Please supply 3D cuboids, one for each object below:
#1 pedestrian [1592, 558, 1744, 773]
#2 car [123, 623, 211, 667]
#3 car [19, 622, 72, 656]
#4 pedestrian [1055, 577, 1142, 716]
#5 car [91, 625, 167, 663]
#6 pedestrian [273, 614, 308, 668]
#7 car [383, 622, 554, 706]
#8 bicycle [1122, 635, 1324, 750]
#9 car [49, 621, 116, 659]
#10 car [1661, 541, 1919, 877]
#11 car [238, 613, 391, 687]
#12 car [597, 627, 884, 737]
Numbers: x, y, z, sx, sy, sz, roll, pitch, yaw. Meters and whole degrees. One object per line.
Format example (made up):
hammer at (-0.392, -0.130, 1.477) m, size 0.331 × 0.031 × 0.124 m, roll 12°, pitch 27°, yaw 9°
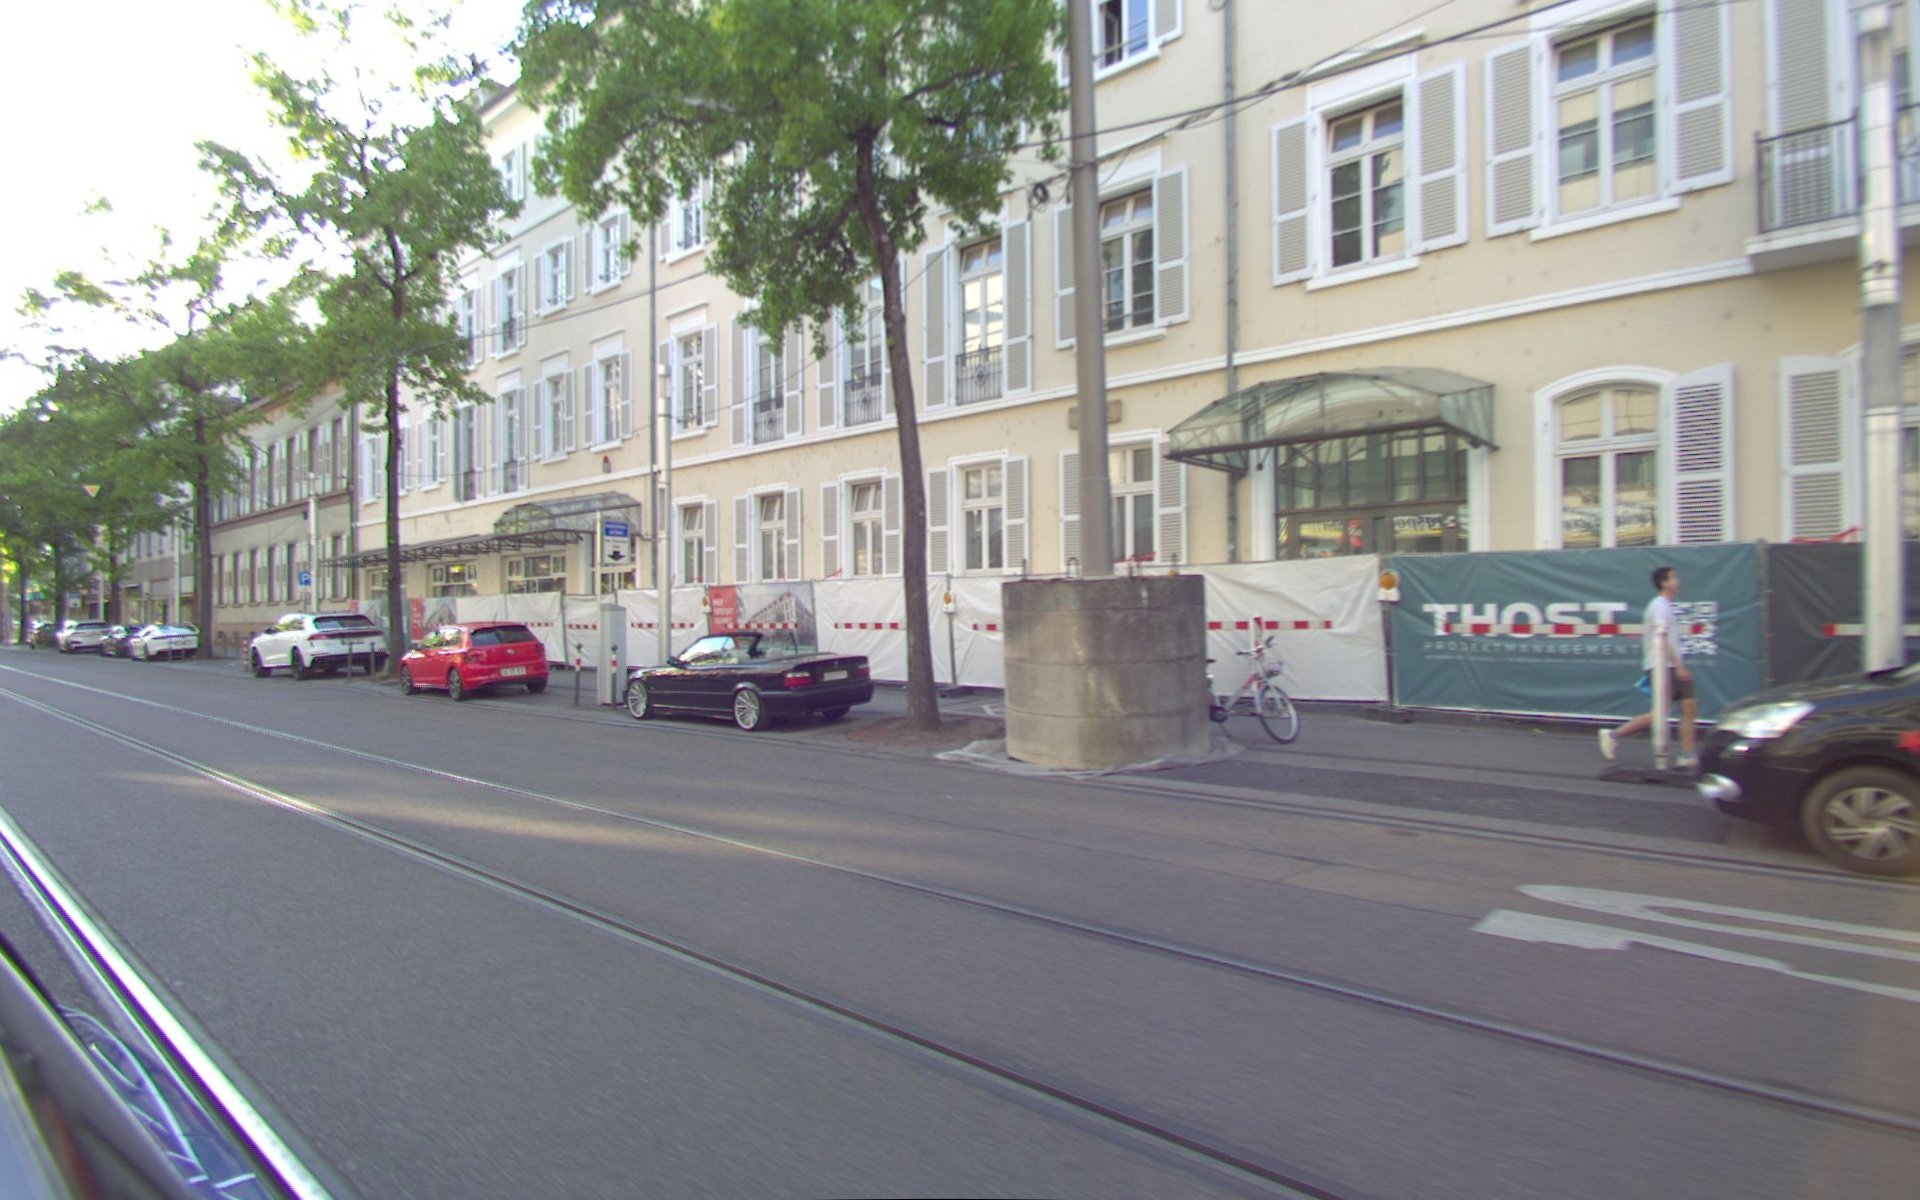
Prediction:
pedestrian at (6.384, 0.553, 9.133) m, size 0.984 × 1.805 × 0.766 m, roll -2°, pitch 1°, yaw 43°
car at (-30.728, 1.724, 39.156) m, size 4.615 × 1.477 × 1.872 m, roll -2°, pitch 1°, yaw 42°
car at (-56.199, 2.382, 62.162) m, size 4.763 × 1.972 × 1.906 m, roll -2°, pitch -2°, yaw 41°
pedestrian at (1.902, 0.617, 13.924) m, size 0.876 × 1.826 × 0.712 m, roll -2°, pitch 1°, yaw 41°
car at (-36.527, 1.934, 44.460) m, size 4.338 × 1.477 × 1.724 m, roll -2°, pitch 1°, yaw 39°
pedestrian at (-22.702, 1.370, 34.318) m, size 0.933 × 1.755 × 0.736 m, roll -2°, pitch 1°, yaw 42°
car at (-9.988, 1.221, 20.421) m, size 4.140 × 1.416 × 1.642 m, roll -2°, pitch 1°, yaw 42°
bicycle at (2.929, 0.997, 11.344) m, size 2.039 × 1.130 × 0.753 m, roll -2°, pitch 2°, yaw 31°
car at (-45.223, 2.068, 52.129) m, size 4.763 × 1.754 × 1.927 m, roll -2°, pitch 1°, yaw 41°
car at (6.706, 0.564, 5.470) m, size 4.559 × 1.846 × 1.837 m, roll -2°, pitch 0°, yaw 43°
car at (-17.173, 1.274, 26.831) m, size 4.945 × 1.701 × 1.848 m, roll -2°, pitch 1°, yaw 38°
car at (-3.305, 1.087, 14.720) m, size 4.505 × 1.254 × 1.700 m, roll -2°, pitch 1°, yaw 41°
